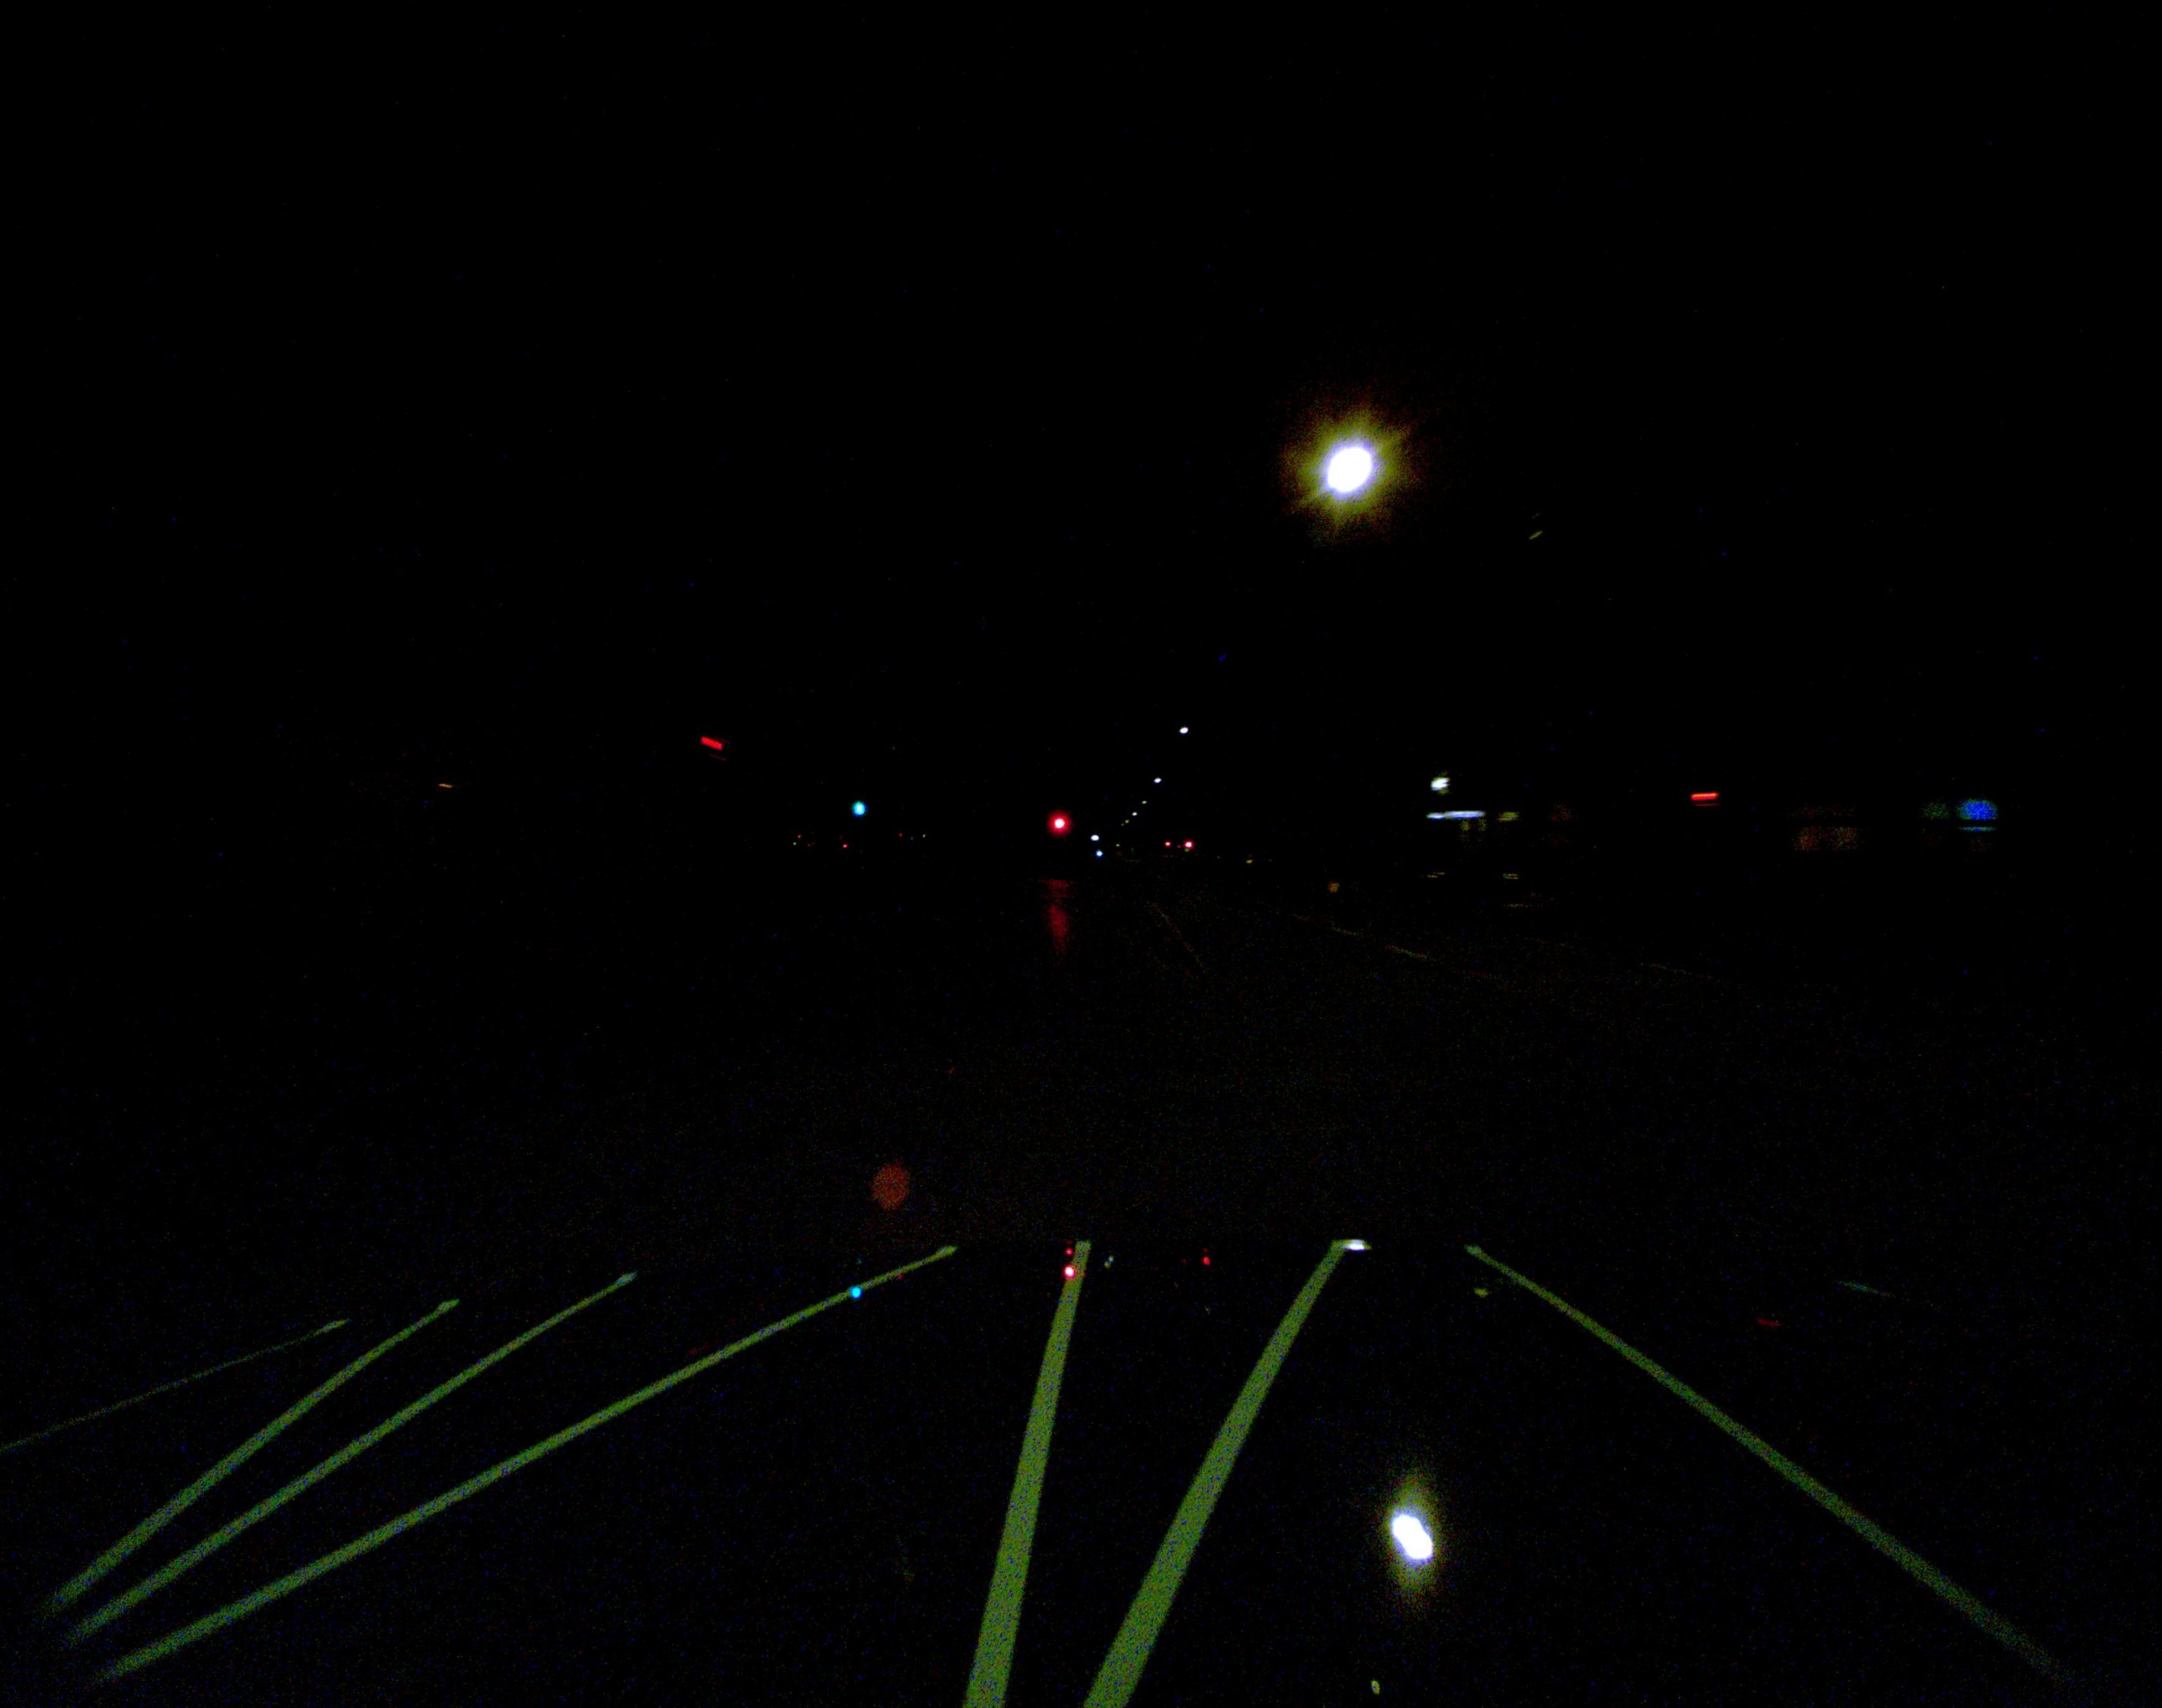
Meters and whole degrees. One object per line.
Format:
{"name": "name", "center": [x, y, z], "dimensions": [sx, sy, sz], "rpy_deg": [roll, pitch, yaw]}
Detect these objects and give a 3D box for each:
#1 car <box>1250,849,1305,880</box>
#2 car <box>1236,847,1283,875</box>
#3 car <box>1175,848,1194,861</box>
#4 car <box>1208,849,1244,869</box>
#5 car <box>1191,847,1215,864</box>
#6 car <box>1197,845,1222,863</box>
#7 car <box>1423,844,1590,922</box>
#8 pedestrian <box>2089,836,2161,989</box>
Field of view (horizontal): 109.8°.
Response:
{"name": "car", "center": [9.957, 0.491, 38.811], "dimensions": [1.865, 1.425, 4.443], "rpy_deg": [-1, 1, 3]}
{"name": "car", "center": [10.257, 0.384, 43.889], "dimensions": [1.865, 1.470, 4.473], "rpy_deg": [-1, 1, 3]}
{"name": "car", "center": [11.783, 0.059, 86.797], "dimensions": [1.633, 1.456, 3.513], "rpy_deg": [1, 1, -1]}
{"name": "car", "center": [10.872, 0.346, 57.098], "dimensions": [1.865, 1.425, 4.403], "rpy_deg": [-1, 1, 0]}
{"name": "car", "center": [11.209, 0.150, 70.013], "dimensions": [1.642, 1.425, 4.350], "rpy_deg": [-2, 1, 3]}
{"name": "car", "center": [10.991, 0.004, 65.335], "dimensions": [1.555, 1.425, 4.348], "rpy_deg": [-2, 1, 3]}
{"name": "car", "center": [9.797, 0.583, 17.904], "dimensions": [1.890, 1.587, 4.024], "rpy_deg": [-2, 1, 4]}
{"name": "pedestrian", "center": [12.255, 0.646, 8.426], "dimensions": [0.710, 1.681, 1.125], "rpy_deg": [1, 1, 13]}
